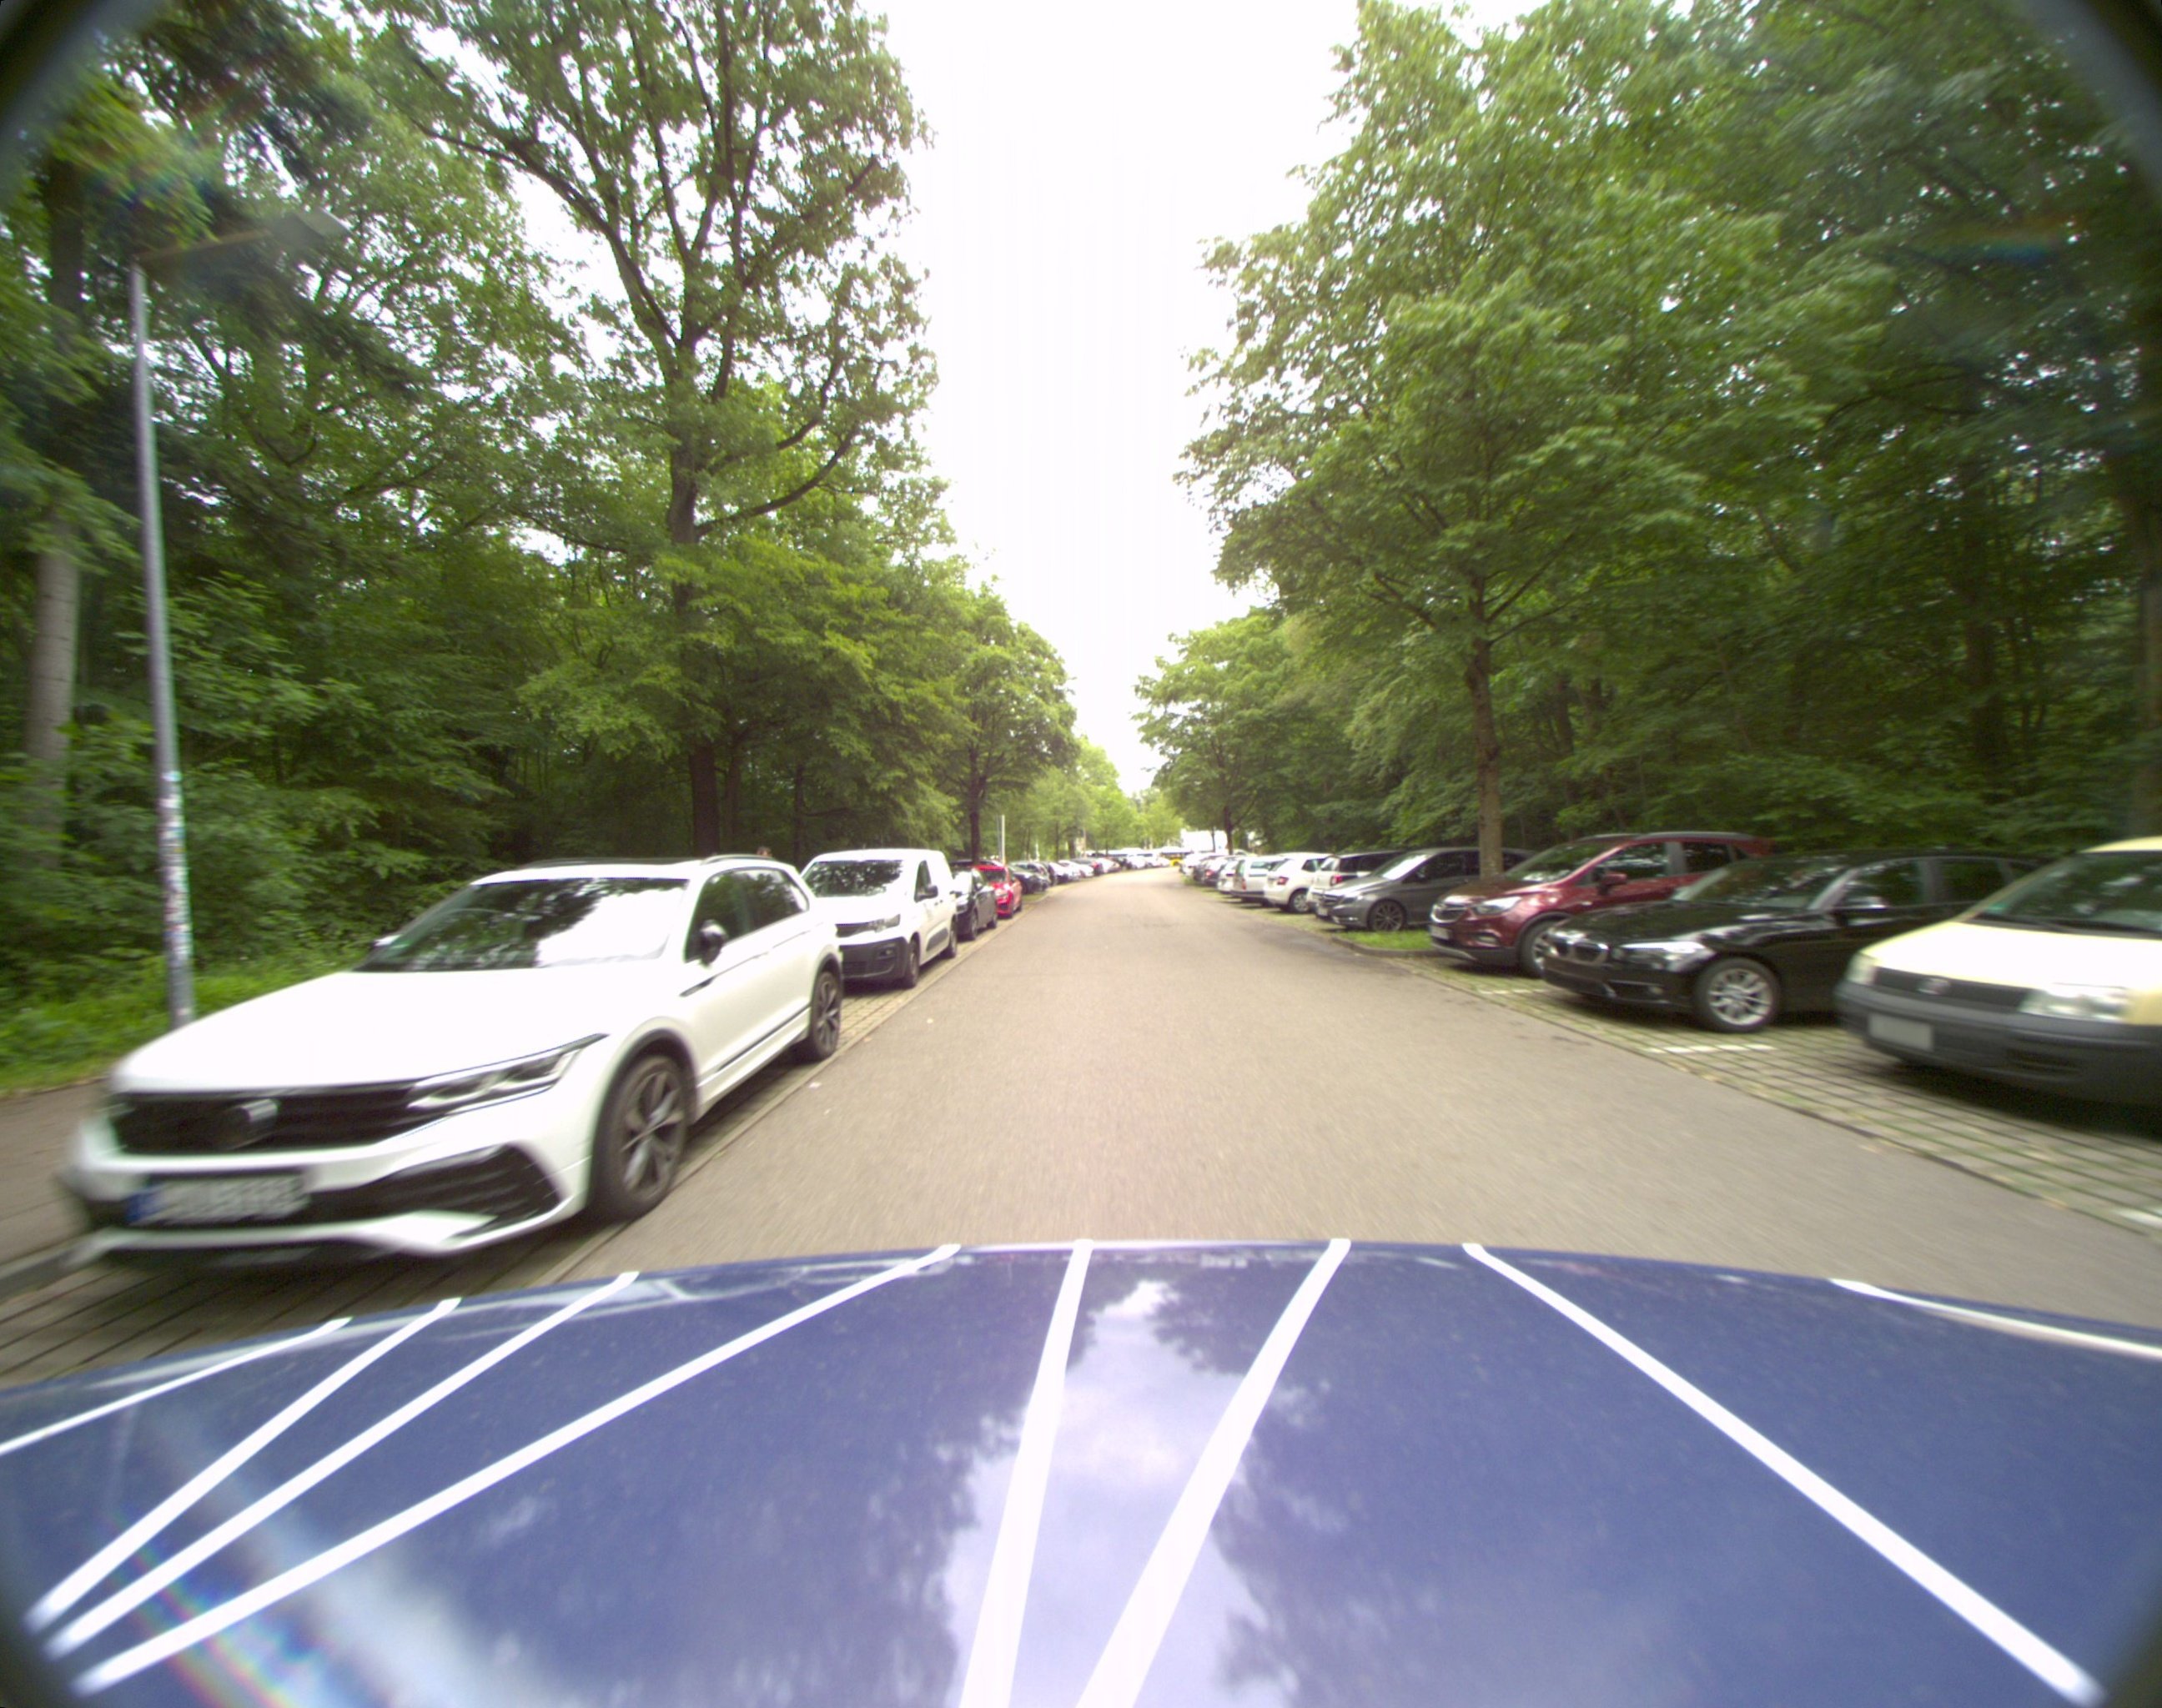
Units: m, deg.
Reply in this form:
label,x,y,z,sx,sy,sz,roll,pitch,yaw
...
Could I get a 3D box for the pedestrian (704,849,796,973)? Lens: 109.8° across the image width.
label,x,y,z,sx,sy,sz,roll,pitch,yaw
pedestrian,-4.854,0.803,11.211,0.819,1.715,1.004,-3,0,1

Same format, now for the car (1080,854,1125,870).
label,x,y,z,sx,sy,sz,roll,pitch,yaw
car,2.056,0.766,72.346,3.993,1.441,1.943,-2,0,12

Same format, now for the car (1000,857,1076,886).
label,x,y,z,sx,sy,sz,roll,pitch,yaw
car,-2.500,1.008,44.914,4.196,1.503,1.894,-2,-1,4

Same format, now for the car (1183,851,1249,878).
label,x,y,z,sx,sy,sz,roll,pitch,yaw
car,8.676,0.667,48.770,3.965,1.618,2.000,-1,0,16

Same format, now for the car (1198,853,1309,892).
label,x,y,z,sx,sy,sz,roll,pitch,yaw
car,7.121,0.755,31.839,4.274,1.477,2.058,-2,0,5

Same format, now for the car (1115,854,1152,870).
label,x,y,z,sx,sy,sz,roll,pitch,yaw
car,6.017,0.938,86.822,3.727,1.545,1.849,-4,-3,18

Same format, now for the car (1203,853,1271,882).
label,x,y,z,sx,sy,sz,roll,pitch,yaw
car,8.491,0.726,41.590,3.472,1.472,1.684,-1,0,6

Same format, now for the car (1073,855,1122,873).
label,x,y,z,sx,sy,sz,roll,pitch,yaw
car,1.569,0.901,69.710,4.132,1.453,1.867,-2,1,14

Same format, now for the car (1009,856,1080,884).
label,x,y,z,sx,sy,sz,roll,pitch,yaw
car,-2.242,1.012,47.435,4.016,1.549,1.979,-2,-1,9

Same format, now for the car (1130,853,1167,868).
label,x,y,z,sx,sy,sz,roll,pitch,yaw
car,8.159,0.809,91.817,4.001,1.546,1.950,-4,-2,26

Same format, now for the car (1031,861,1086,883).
label,x,y,z,sx,sy,sz,roll,pitch,yaw
car,-1.586,1.289,54.699,3.804,1.432,1.871,-2,-1,0

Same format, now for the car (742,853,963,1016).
label,x,y,z,sx,sy,sz,roll,pitch,yaw
car,-2.931,0.914,10.850,1.749,1.770,4.551,-2,0,-1

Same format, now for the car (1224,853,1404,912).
label,x,y,z,sx,sy,sz,roll,pitch,yaw
car,6.536,0.791,21.693,4.573,1.477,1.870,-2,0,2

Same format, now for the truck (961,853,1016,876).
label,x,y,z,sx,sy,sz,roll,pitch,yaw
truck,-15.118,1.715,124.066,8.232,3.493,2.872,-2,-1,14

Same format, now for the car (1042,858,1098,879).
label,x,y,z,sx,sy,sz,roll,pitch,yaw
car,-0.818,1.082,57.432,3.940,1.402,1.879,-2,-1,9

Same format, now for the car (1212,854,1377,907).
label,x,y,z,sx,sy,sz,roll,pitch,yaw
car,6.660,0.797,24.036,4.575,1.439,2.085,-2,0,-2

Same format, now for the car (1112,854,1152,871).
label,x,y,z,sx,sy,sz,roll,pitch,yaw
car,5.650,0.941,84.518,3.992,1.475,1.879,-4,0,18

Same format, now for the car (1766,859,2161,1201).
label,x,y,z,sx,sy,sz,roll,pitch,yaw
car,6.740,0.780,4.282,4.032,1.456,1.799,-2,0,2

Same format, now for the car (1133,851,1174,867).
label,x,y,z,sx,sy,sz,roll,pitch,yaw
car,9.029,0.626,94.156,4.524,1.683,2.169,-2,0,25

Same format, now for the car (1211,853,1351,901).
label,x,y,z,sx,sy,sz,roll,pitch,yaw
car,6.952,0.787,26.735,4.377,1.477,1.891,-2,1,-1

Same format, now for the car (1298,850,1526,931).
label,x,y,z,sx,sy,sz,roll,pitch,yaw
car,7.249,0.757,16.888,4.247,1.541,1.847,-2,0,-4

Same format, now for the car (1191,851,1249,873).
label,x,y,z,sx,sy,sz,roll,pitch,yaw
car,10.680,0.622,58.540,4.241,1.524,1.764,-1,0,9

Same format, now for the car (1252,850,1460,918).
label,x,y,z,sx,sy,sz,roll,pitch,yaw
car,6.911,0.727,19.471,4.574,1.477,1.940,-2,0,0

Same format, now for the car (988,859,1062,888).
label,x,y,z,sx,sy,sz,roll,pitch,yaw
car,-3.082,1.087,42.306,3.835,1.449,1.809,-2,1,6

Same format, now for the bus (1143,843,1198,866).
label,x,y,z,sx,sy,sz,roll,pitch,yaw
bus,13.695,0.152,115.958,7.756,3.139,2.811,-2,-2,-8

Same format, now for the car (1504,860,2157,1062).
label,x,y,z,sx,sy,sz,roll,pitch,yaw
car,6.252,0.828,6.714,3.997,1.356,1.786,-3,0,-1

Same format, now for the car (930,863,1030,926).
label,x,y,z,sx,sy,sz,roll,pitch,yaw
car,-2.737,1.067,21.812,1.998,1.470,4.972,-2,0,2

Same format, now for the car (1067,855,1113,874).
label,x,y,z,sx,sy,sz,roll,pitch,yaw
car,0.806,0.951,67.442,3.707,1.502,1.753,-2,1,12

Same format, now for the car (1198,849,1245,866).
label,x,y,z,sx,sy,sz,roll,pitch,yaw
car,14.017,0.323,75.541,4.361,1.588,2.033,-2,0,17

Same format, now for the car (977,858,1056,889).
label,x,y,z,sx,sy,sz,roll,pitch,yaw
car,-3.366,1.025,40.081,3.835,1.522,1.851,-1,0,5

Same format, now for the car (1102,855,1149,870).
label,x,y,z,sx,sy,sz,roll,pitch,yaw
car,4.815,0.879,82.298,4.777,1.467,1.855,-2,-1,19

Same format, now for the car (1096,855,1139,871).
label,x,y,z,sx,sy,sz,roll,pitch,yaw
car,3.694,0.885,77.142,3.992,1.474,1.924,-2,0,16

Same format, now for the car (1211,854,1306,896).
label,x,y,z,sx,sy,sz,roll,pitch,yaw
car,6.758,0.791,29.155,3.226,1.436,1.680,-2,0,1

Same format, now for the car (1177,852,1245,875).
label,x,y,z,sx,sy,sz,roll,pitch,yaw
car,9.193,0.681,53.918,4.648,1.469,2.096,-1,0,9

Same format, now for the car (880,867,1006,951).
label,x,y,z,sx,sy,sz,roll,pitch,yaw
car,-2.767,1.058,16.174,1.729,1.414,4.284,-2,0,2

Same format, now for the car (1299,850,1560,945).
label,x,y,z,sx,sy,sz,roll,pitch,yaw
car,6.453,0.770,14.409,4.044,1.546,1.919,-2,0,-1

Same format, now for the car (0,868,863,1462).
label,x,y,z,sx,sy,sz,roll,pitch,yaw
car,-2.878,0.985,4.639,1.790,1.652,4.717,-2,0,-2

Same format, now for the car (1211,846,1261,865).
label,x,y,z,sx,sy,sz,roll,pitch,yaw
car,17.231,0.149,84.544,5.091,1.904,1.981,-2,0,21

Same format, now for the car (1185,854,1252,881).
label,x,y,z,sx,sy,sz,roll,pitch,yaw
car,7.925,0.772,44.049,3.734,1.411,1.873,-1,0,7

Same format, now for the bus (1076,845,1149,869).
label,x,y,z,sx,sy,sz,roll,pitch,yaw
bus,4.694,0.404,114.648,10.517,3.139,2.811,-2,-2,-8

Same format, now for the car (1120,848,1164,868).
label,x,y,z,sx,sy,sz,roll,pitch,yaw
car,7.153,0.514,89.275,4.654,2.008,2.087,-4,-2,20

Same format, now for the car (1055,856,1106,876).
label,x,y,z,sx,sy,sz,roll,pitch,yaw
car,-0.046,0.936,59.969,3.775,1.472,1.775,-2,-1,7

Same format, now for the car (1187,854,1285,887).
label,x,y,z,sx,sy,sz,roll,pitch,yaw
car,7.437,0.772,36.852,4.414,1.416,2.036,-2,0,6

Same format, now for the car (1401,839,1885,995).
label,x,y,z,sx,sy,sz,roll,pitch,yaw
car,6.639,0.702,9.394,4.526,1.575,1.927,-2,0,0

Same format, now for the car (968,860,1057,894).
label,x,y,z,sx,sy,sz,roll,pitch,yaw
car,-3.337,1.134,37.345,3.995,1.466,1.953,-2,0,5

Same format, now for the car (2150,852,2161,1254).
label,x,y,z,sx,sy,sz,roll,pitch,yaw
car,6.208,0.713,1.862,4.235,1.623,2.029,-3,0,1

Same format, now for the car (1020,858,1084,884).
label,x,y,z,sx,sy,sz,roll,pitch,yaw
car,-1.884,1.105,49.951,3.985,1.475,1.885,-2,-1,4

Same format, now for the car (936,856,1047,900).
label,x,y,z,sx,sy,sz,roll,pitch,yaw
car,-3.724,0.983,32.135,4.275,1.656,1.959,-2,0,4

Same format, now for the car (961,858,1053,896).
label,x,y,z,sx,sy,sz,roll,pitch,yaw
car,-3.327,1.036,34.692,3.997,1.542,1.975,-2,0,-1
